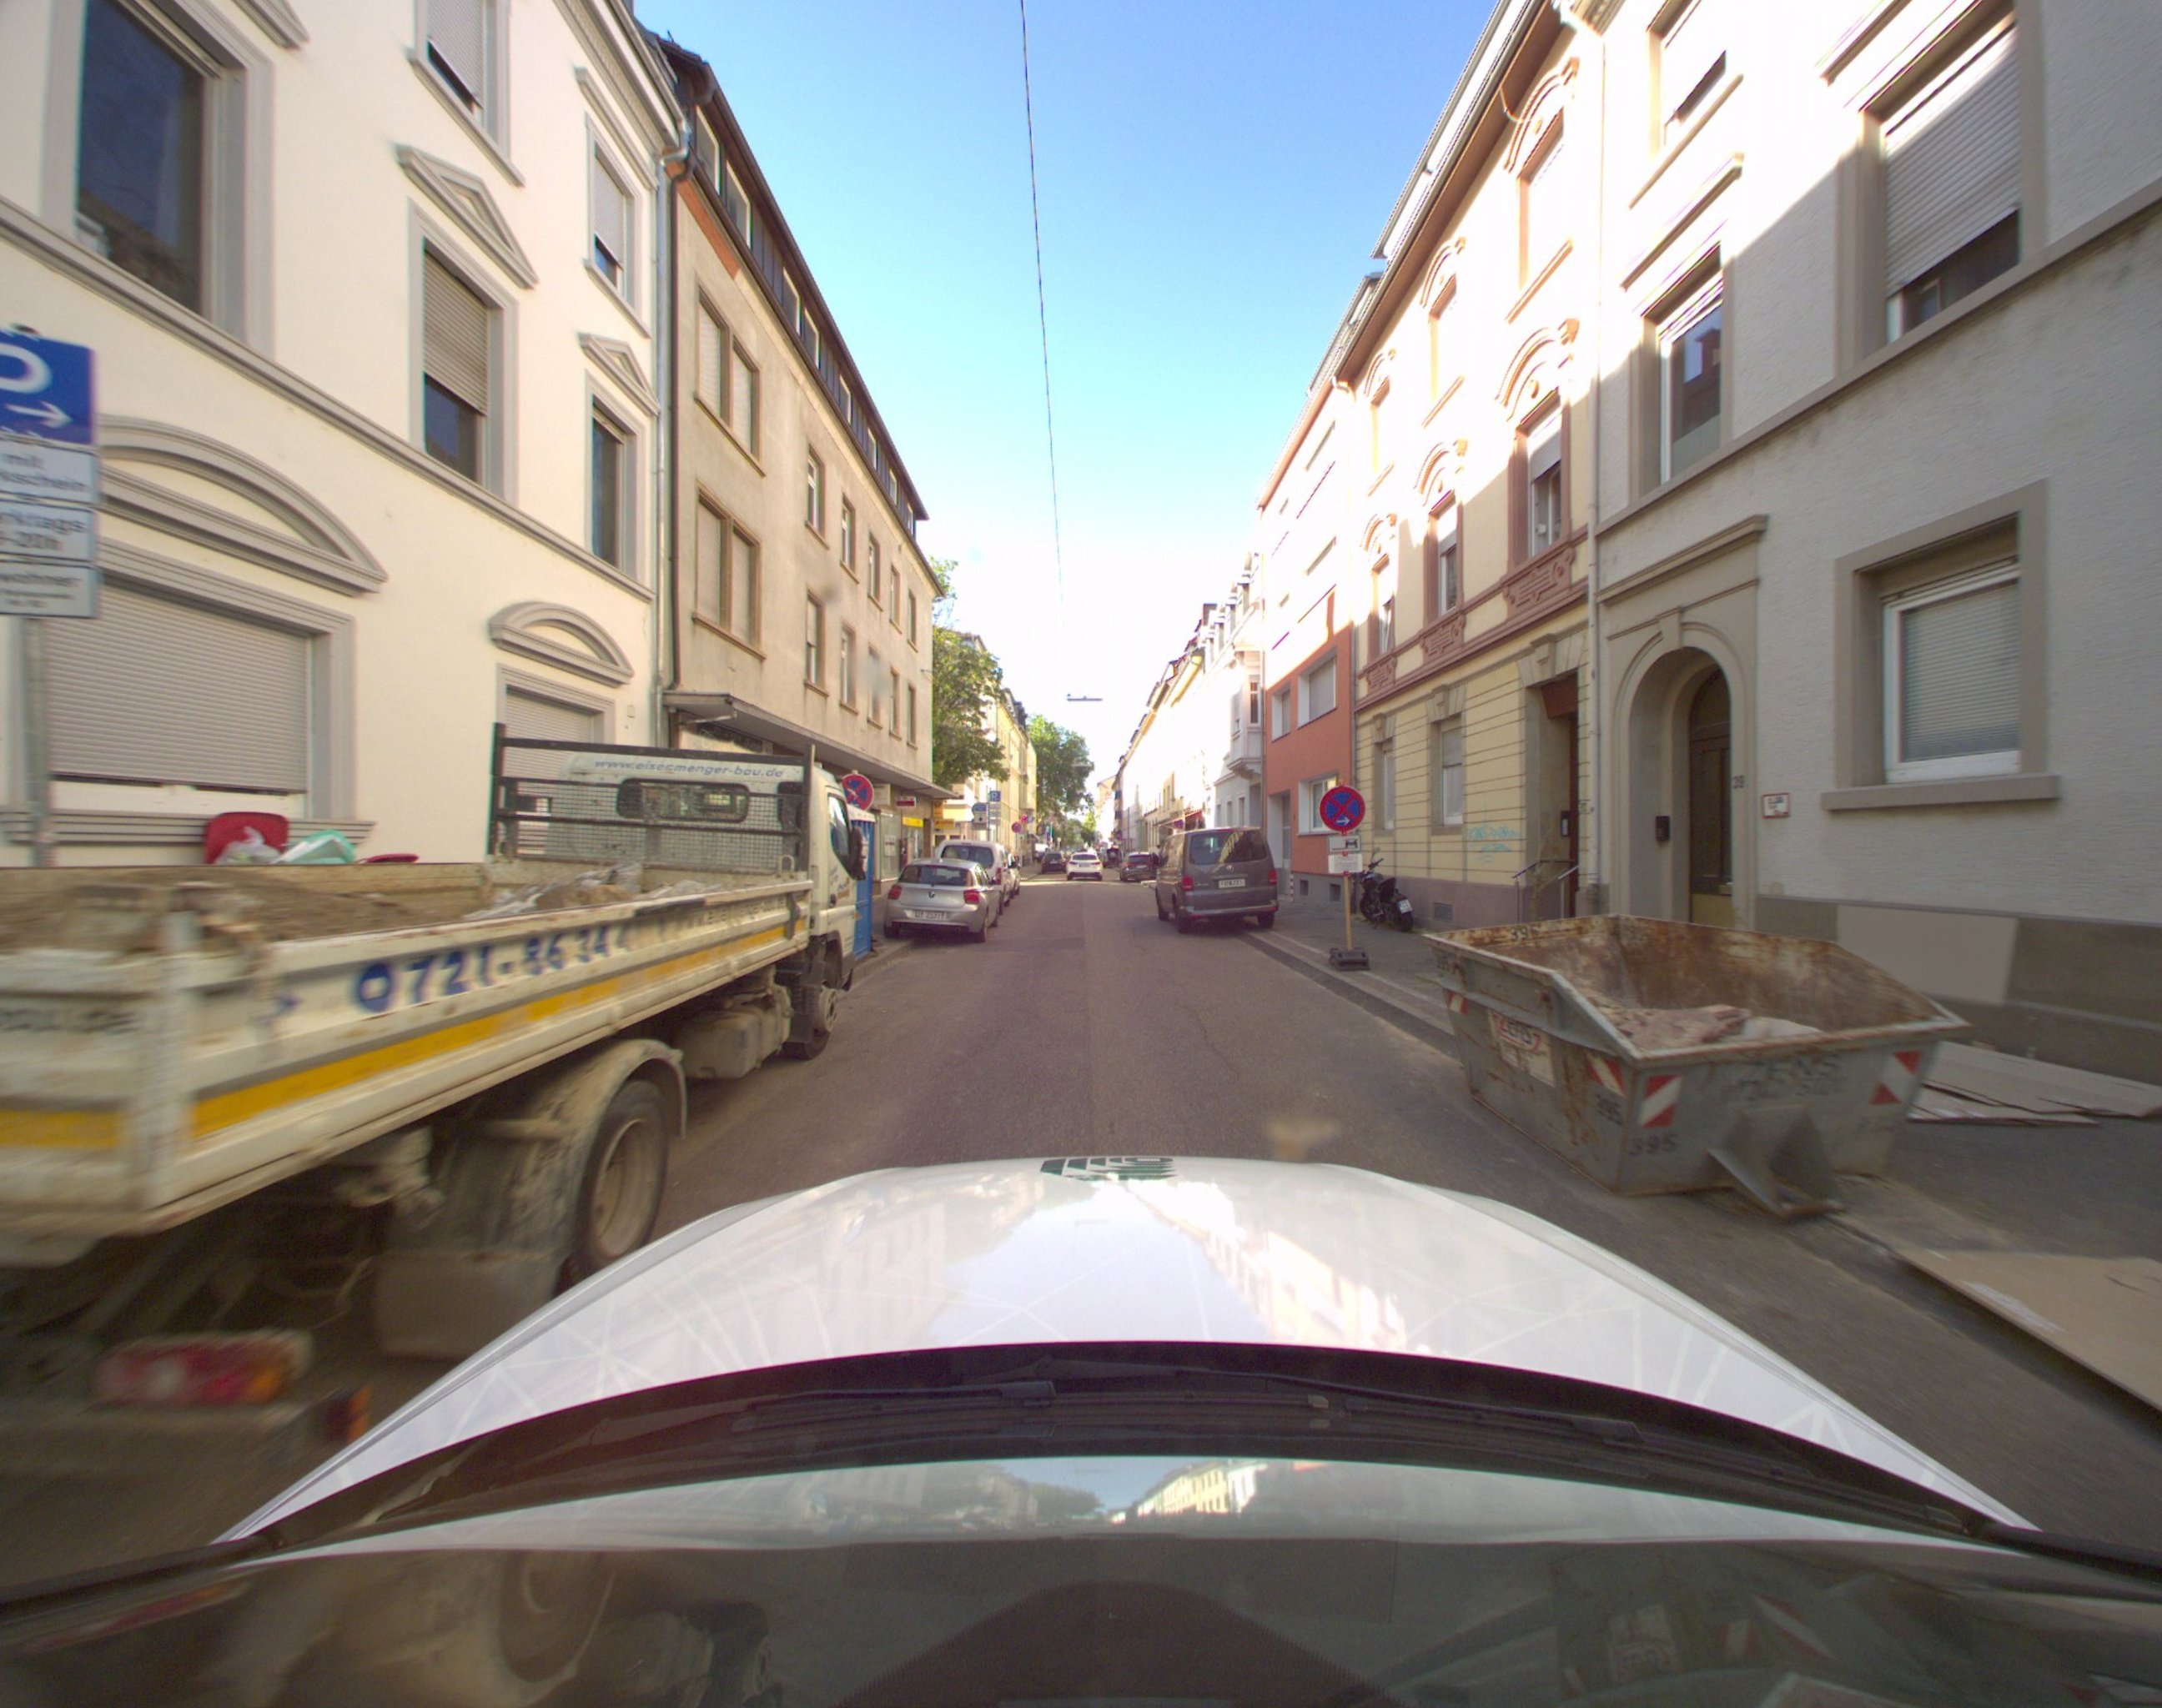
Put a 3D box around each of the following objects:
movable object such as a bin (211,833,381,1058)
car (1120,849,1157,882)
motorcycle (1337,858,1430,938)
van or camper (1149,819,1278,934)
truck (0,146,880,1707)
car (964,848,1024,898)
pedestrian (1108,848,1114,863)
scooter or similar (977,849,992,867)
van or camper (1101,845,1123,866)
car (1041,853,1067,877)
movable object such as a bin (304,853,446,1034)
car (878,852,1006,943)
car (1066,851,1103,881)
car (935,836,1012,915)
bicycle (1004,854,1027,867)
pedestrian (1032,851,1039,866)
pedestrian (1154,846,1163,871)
[{"bbox_3d":[-5.602,0.621,5.840,0.637,1.532,0.587,0,0,0],"label":"movable object such as a bin"},{"bbox_3d":[2.889,0.545,41.660,1.641,1.576,3.679,0,0,0],"label":"car"},{"bbox_3d":[5.202,0.705,14.210,0.594,1.186,2.761,-5,0,2],"label":"motorcycle"},{"bbox_3d":[2.600,0.412,17.106,1.770,2.036,4.566,-2,0,-2],"label":"van or camper"},{"bbox_3d":[-2.695,0.217,4.297,2.153,2.590,6.239,-1,0,-5],"label":"truck"},{"bbox_3d":[-2.922,0.598,27.972,1.641,1.576,3.679,0,0,0],"label":"car"},{"bbox_3d":[2.971,0.140,80.668,0.625,1.464,0.575,-1,-1,0],"label":"pedestrian"},{"bbox_3d":[-8.749,0.363,73.825,0.505,1.558,1.617,0,0,32],"label":"scooter or similar"},{"bbox_3d":[2.979,0.167,79.176,1.987,1.926,3.999,-1,-1,0],"label":"van or camper"},{"bbox_3d":[-1.862,0.739,56.688,1.619,1.597,3.580,0,0,0],"label":"car"},{"bbox_3d":[-5.582,0.673,6.470,0.559,1.360,0.632,0,0,0],"label":"movable object such as a bin"},{"bbox_3d":[-2.479,0.714,15.462,1.753,1.415,3.998,-2,0,-1],"label":"car"},{"bbox_3d":[0.197,0.583,42.574,1.827,1.486,4.057,0,0,1],"label":"car"},{"bbox_3d":[-2.708,0.497,21.314,1.643,1.867,3.996,0,0,-3],"label":"car"},{"bbox_3d":[-5.643,0.580,70.137,1.963,1.115,0.506,0,0,-35],"label":"bicycle"},{"bbox_3d":[-4.636,0.477,82.684,0.625,1.464,0.575,-1,-1,0],"label":"pedestrian"},{"bbox_3d":[5.242,0.308,55.194,0.524,1.727,0.492,-1,-1,15],"label":"pedestrian"}]
